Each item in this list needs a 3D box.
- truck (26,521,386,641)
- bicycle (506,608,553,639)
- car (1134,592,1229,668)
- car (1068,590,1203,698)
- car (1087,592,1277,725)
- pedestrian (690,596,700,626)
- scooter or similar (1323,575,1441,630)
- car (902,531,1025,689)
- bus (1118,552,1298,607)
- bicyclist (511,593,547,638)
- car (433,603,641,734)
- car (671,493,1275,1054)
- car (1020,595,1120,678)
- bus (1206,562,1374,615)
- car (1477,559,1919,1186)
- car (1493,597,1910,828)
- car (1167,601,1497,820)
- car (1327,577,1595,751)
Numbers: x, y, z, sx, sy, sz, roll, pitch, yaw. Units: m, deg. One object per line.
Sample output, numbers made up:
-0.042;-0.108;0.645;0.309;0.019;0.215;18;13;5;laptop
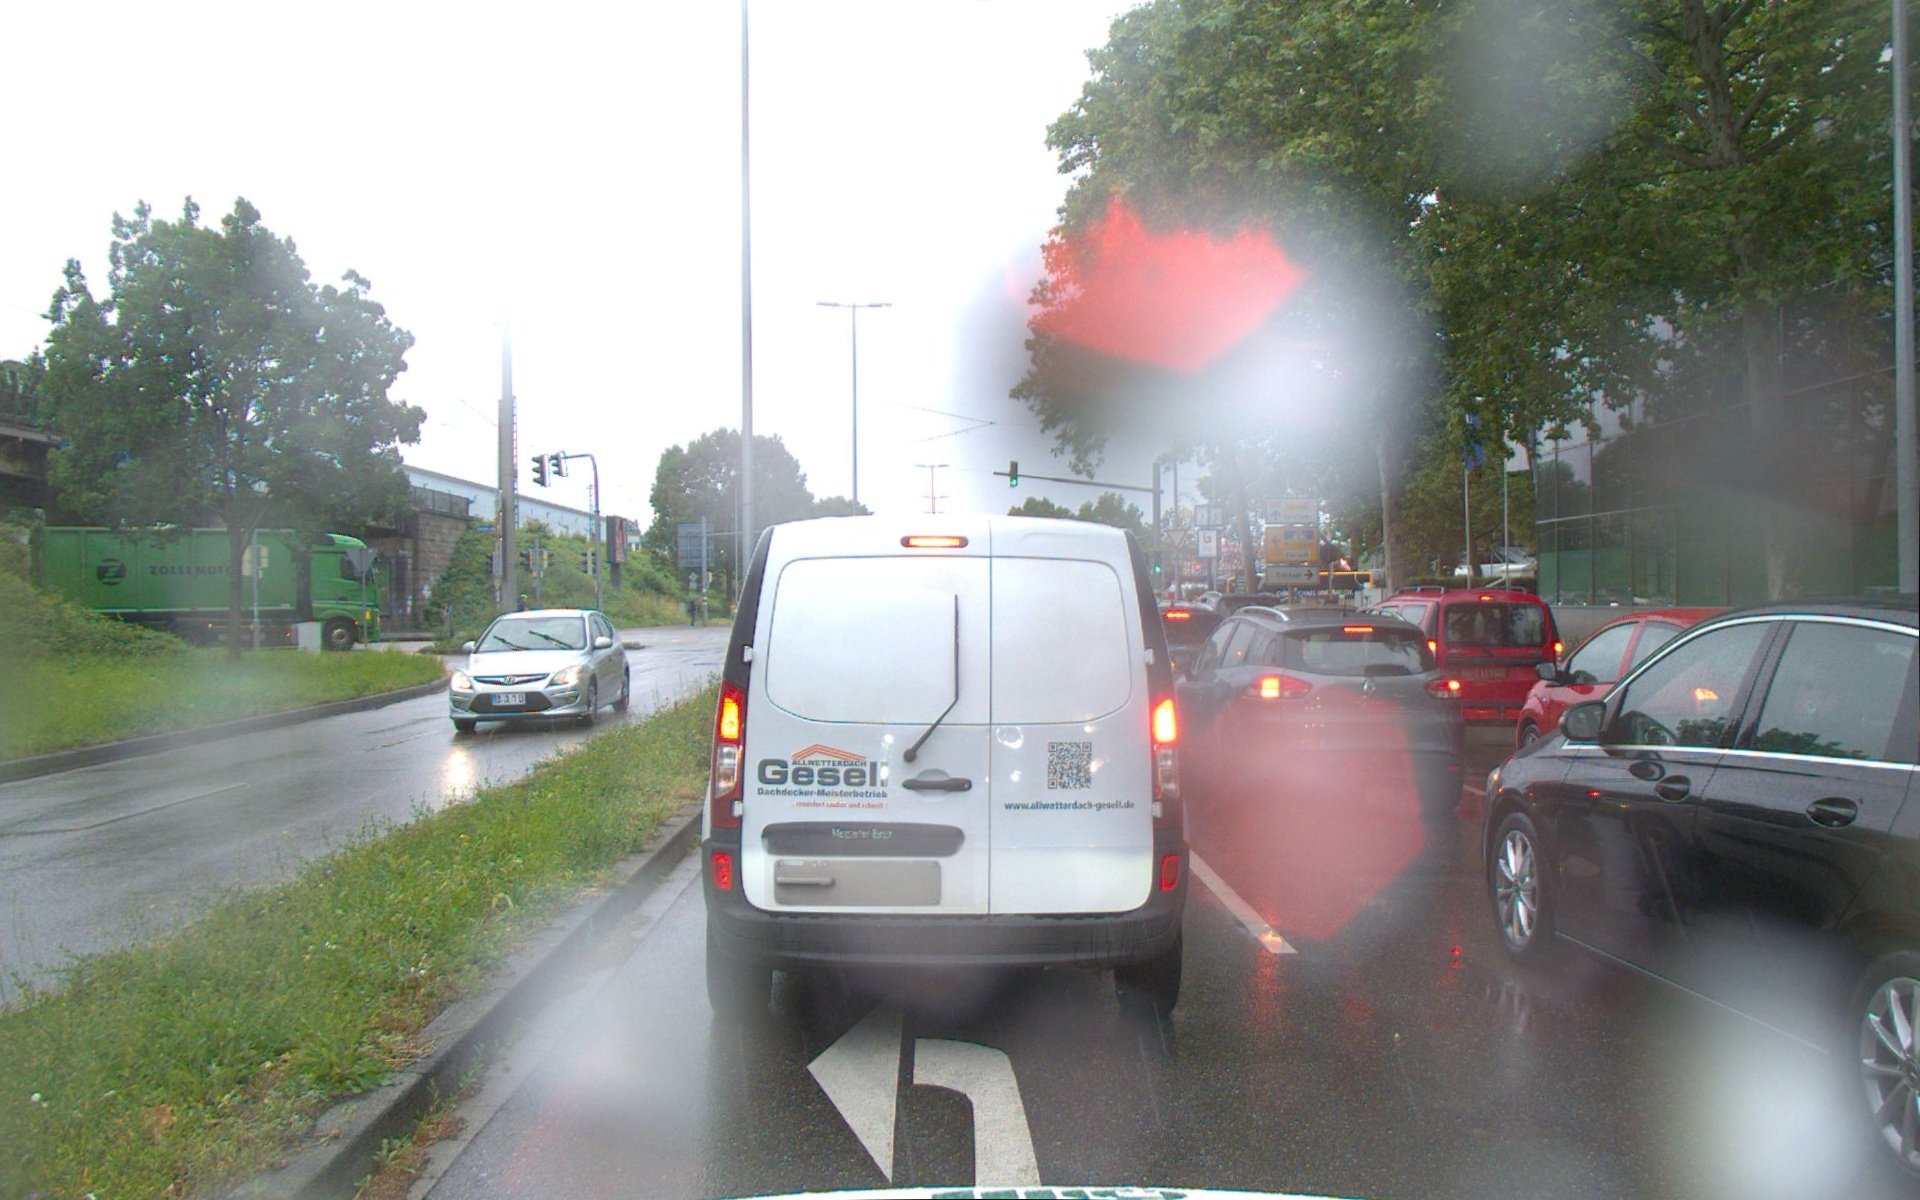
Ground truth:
-23.163;-0.582;51.301;9.956;3.430;2.316;0;0;-37;truck
-14.410;0.765;55.311;1.027;0.968;2.866;-1;1;-25;bicycle
5.169;0.681;39.008;1.674;1.678;3.842;1;0;-1;car
2.875;0.679;27.890;1.816;1.678;3.842;0;0;-1;car
2.663;0.651;20.659;1.816;1.486;3.842;0;0;-1;car
-15.351;0.626;95.858;0.532;1.746;0.563;1;-1;-5;pedestrian
19.674;0.095;77.356;1.878;2.489;5.239;0;0;-41;scooter or similar
0.026;0.133;26.452;1.816;2.336;3.842;0;0;-1;car
16.602;-1.400;111.148;11.727;3.483;2.315;-1;1;-1;bus
-14.394;0.515;55.282;1.028;1.475;0.723;-1;1;-26;bicyclist
-5.498;0.833;22.009;1.779;1.488;3.999;-3;0;-2;car
0.014;0.541;7.639;1.953;1.807;4.584;0;0;-1;car
2.287;0.737;35.148;1.816;1.678;3.842;0;0;-1;car
23.264;-0.855;116.501;11.774;3.483;2.473;-1;1;-16;bus
3.246;0.688;5.444;1.712;1.582;4.089;0;0;-2;car
5.385;0.733;12.473;1.537;1.488;3.388;0;0;-2;car
2.769;0.753;13.148;1.649;1.433;3.842;1;0;-2;car
5.514;0.665;18.768;1.676;1.724;4.271;1;-1;-1;car
